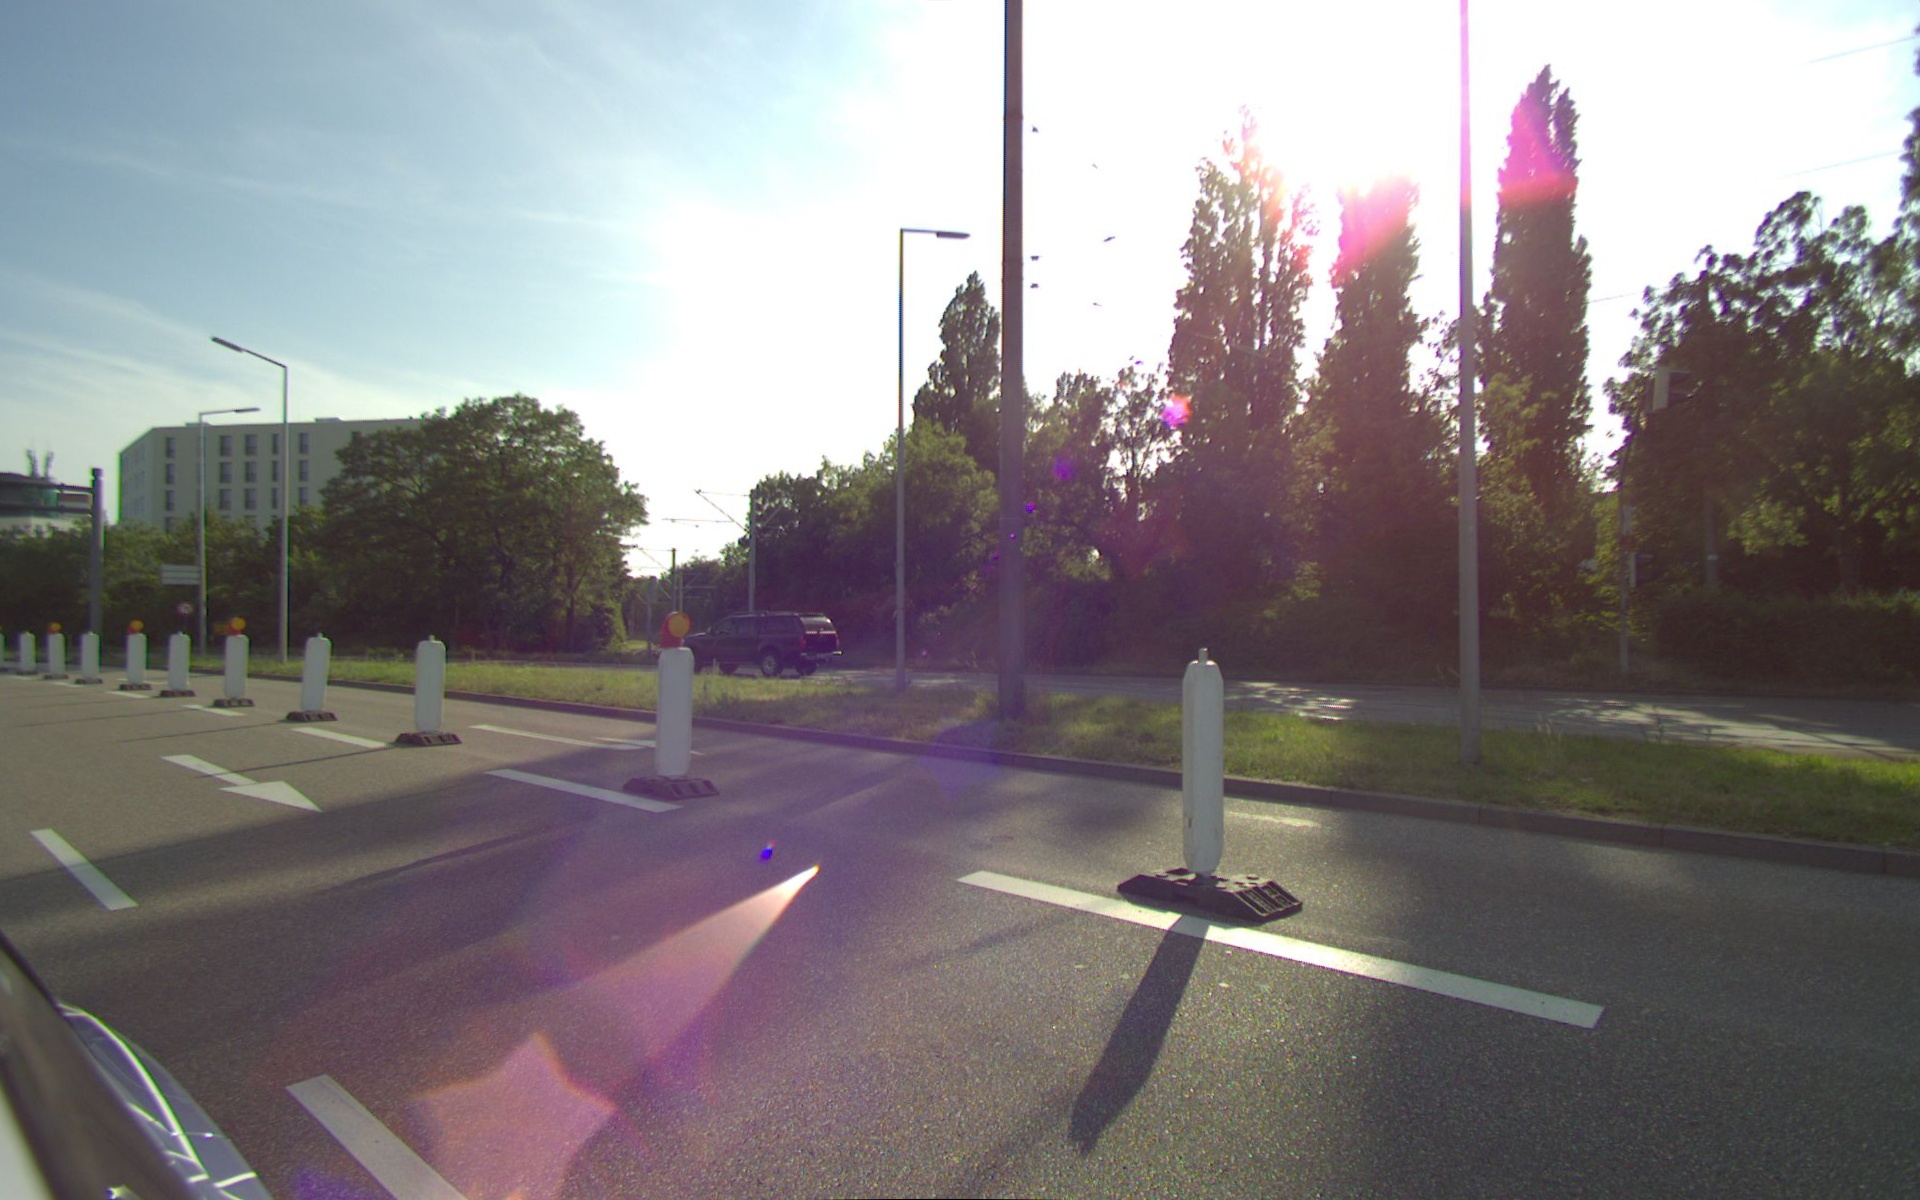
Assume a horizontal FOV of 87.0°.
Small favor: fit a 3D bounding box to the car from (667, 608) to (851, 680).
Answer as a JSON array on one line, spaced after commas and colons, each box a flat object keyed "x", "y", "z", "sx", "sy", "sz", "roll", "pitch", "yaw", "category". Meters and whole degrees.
[{"x": -6.095, "y": 1.321, "z": 30.609, "sx": 5.326, "sy": 2.029, "sz": 1.983, "roll": -1, "pitch": -2, "yaw": 25, "category": "car"}]
